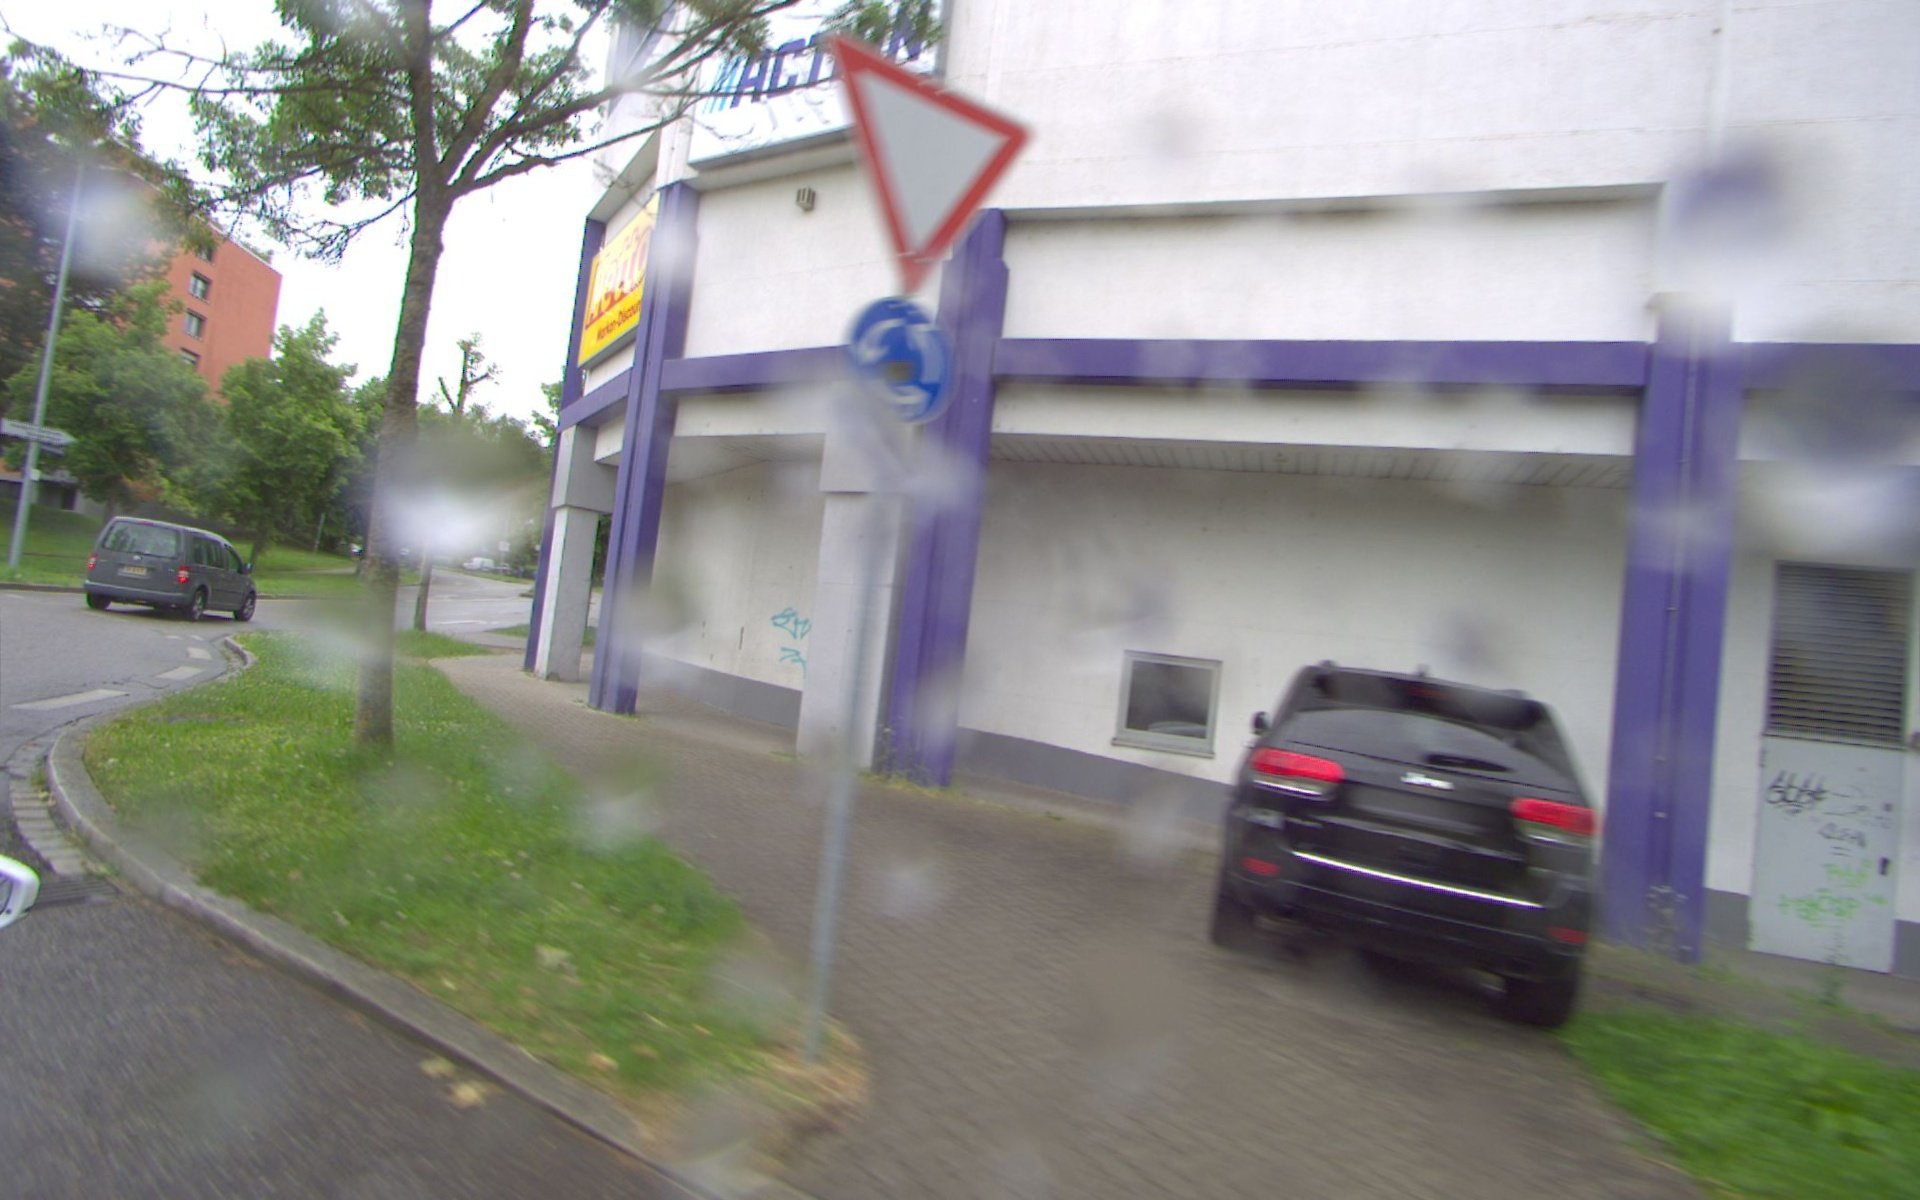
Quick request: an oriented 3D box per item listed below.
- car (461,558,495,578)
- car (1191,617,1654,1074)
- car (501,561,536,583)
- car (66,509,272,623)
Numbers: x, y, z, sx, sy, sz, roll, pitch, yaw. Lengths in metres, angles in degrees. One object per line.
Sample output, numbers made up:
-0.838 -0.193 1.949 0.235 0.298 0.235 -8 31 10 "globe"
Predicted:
-54.013 -3.578 112.618 3.949 1.894 1.991 4 -4 44 "car"
2.803 1.359 6.873 1.795 1.777 4.401 9 -4 18 "car"
-47.154 -2.984 107.379 3.810 1.894 1.845 5 -4 43 "car"
-15.976 -0.580 20.597 1.898 1.820 3.779 9 -4 -18 "car"
